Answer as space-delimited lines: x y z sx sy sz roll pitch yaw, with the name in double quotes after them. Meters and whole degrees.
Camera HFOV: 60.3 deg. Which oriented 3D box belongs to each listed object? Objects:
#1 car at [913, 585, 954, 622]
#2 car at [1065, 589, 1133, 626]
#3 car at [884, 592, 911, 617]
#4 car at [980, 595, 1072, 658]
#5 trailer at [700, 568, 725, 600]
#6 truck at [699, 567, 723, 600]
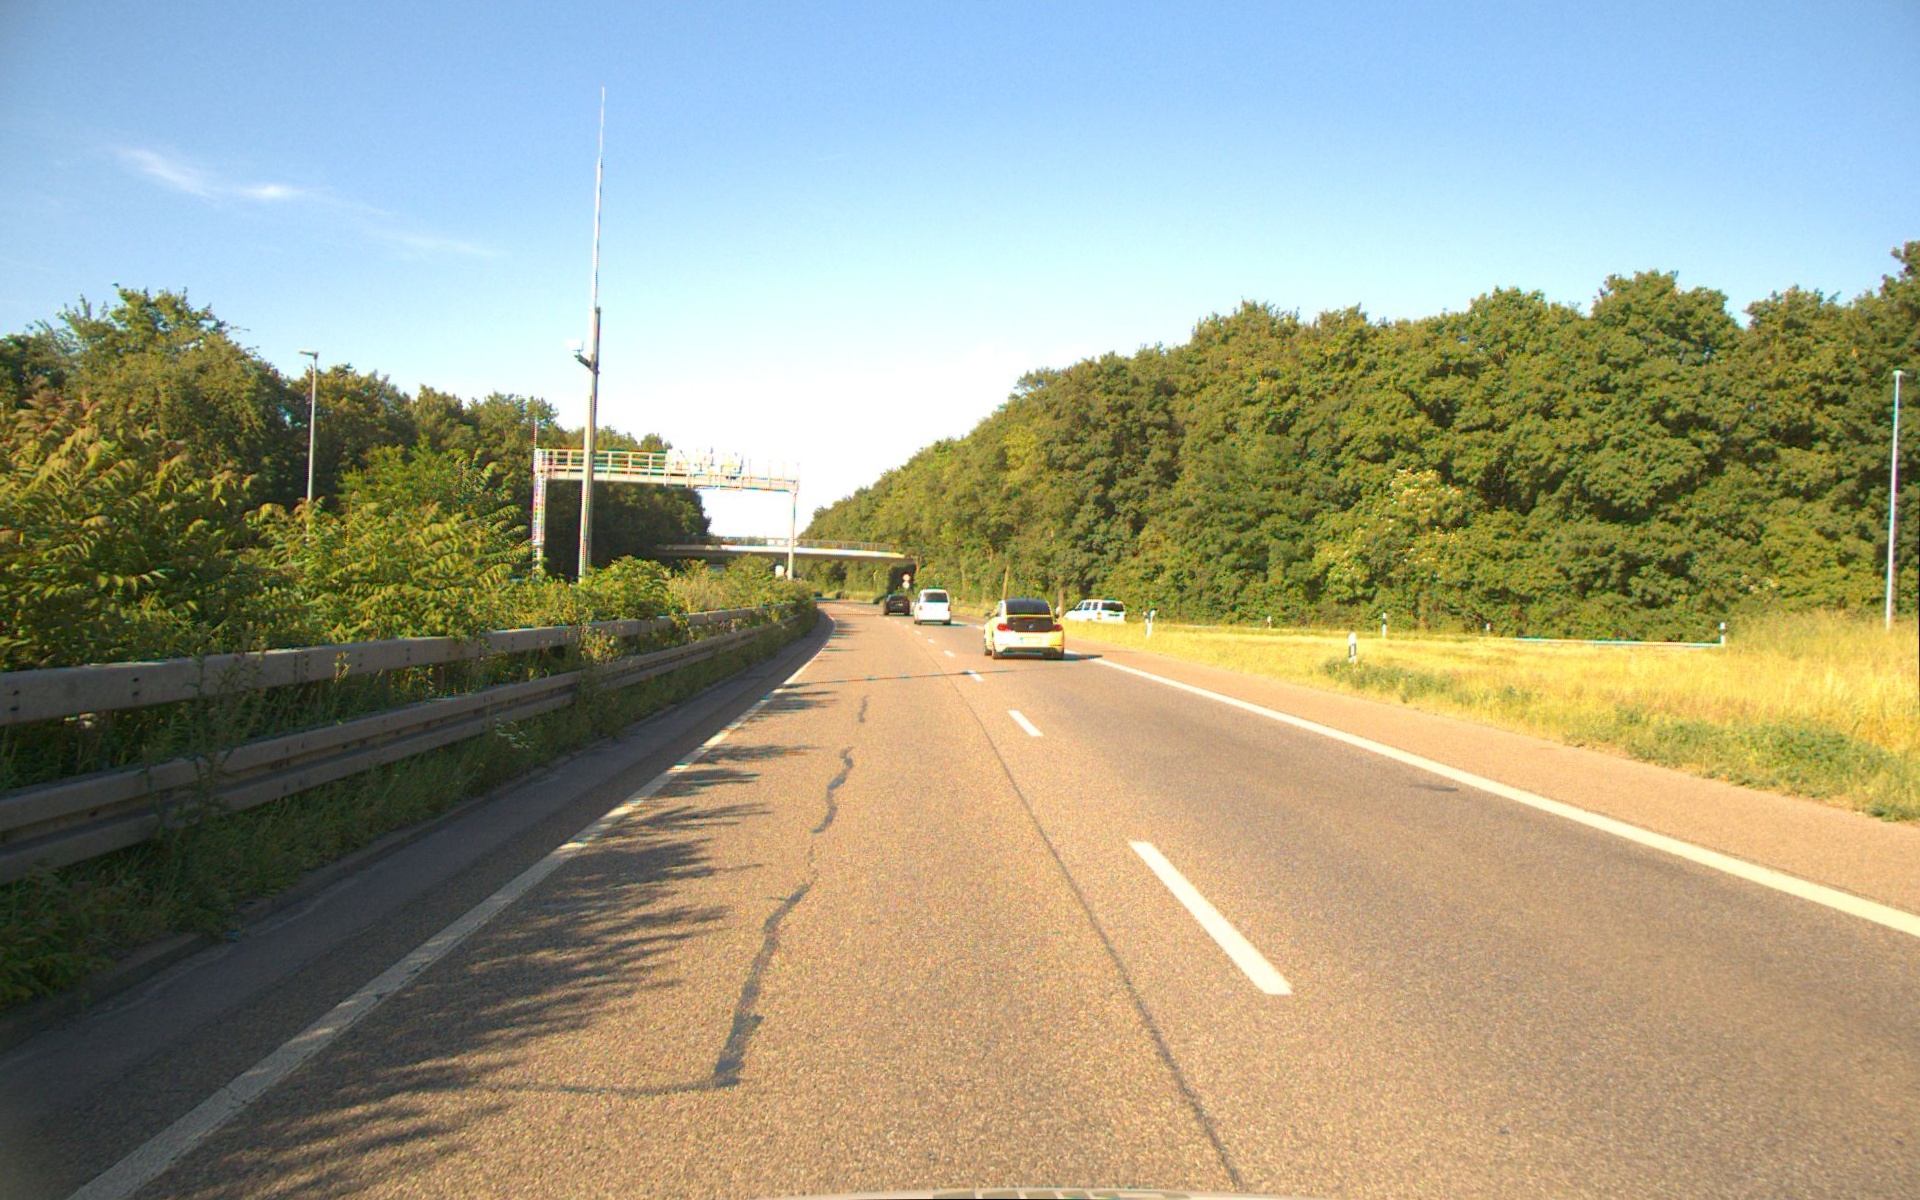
-1.400 0.197 85.494 1.860 1.798 3.996 0 -2 -4 "car"
7.146 0.378 85.144 1.871 1.856 3.972 1 0 -23 "car"
-4.565 0.311 120.650 1.859 1.798 3.998 1 0 -2 "car"
1.609 0.636 41.675 1.860 1.496 3.996 1 0 -4 "car"
-33.169 -2.136 221.996 2.686 4.097 14.054 2 0 -7 "trailer"
-32.369 -2.100 215.379 2.686 4.098 6.170 2 0 -7 "truck"
